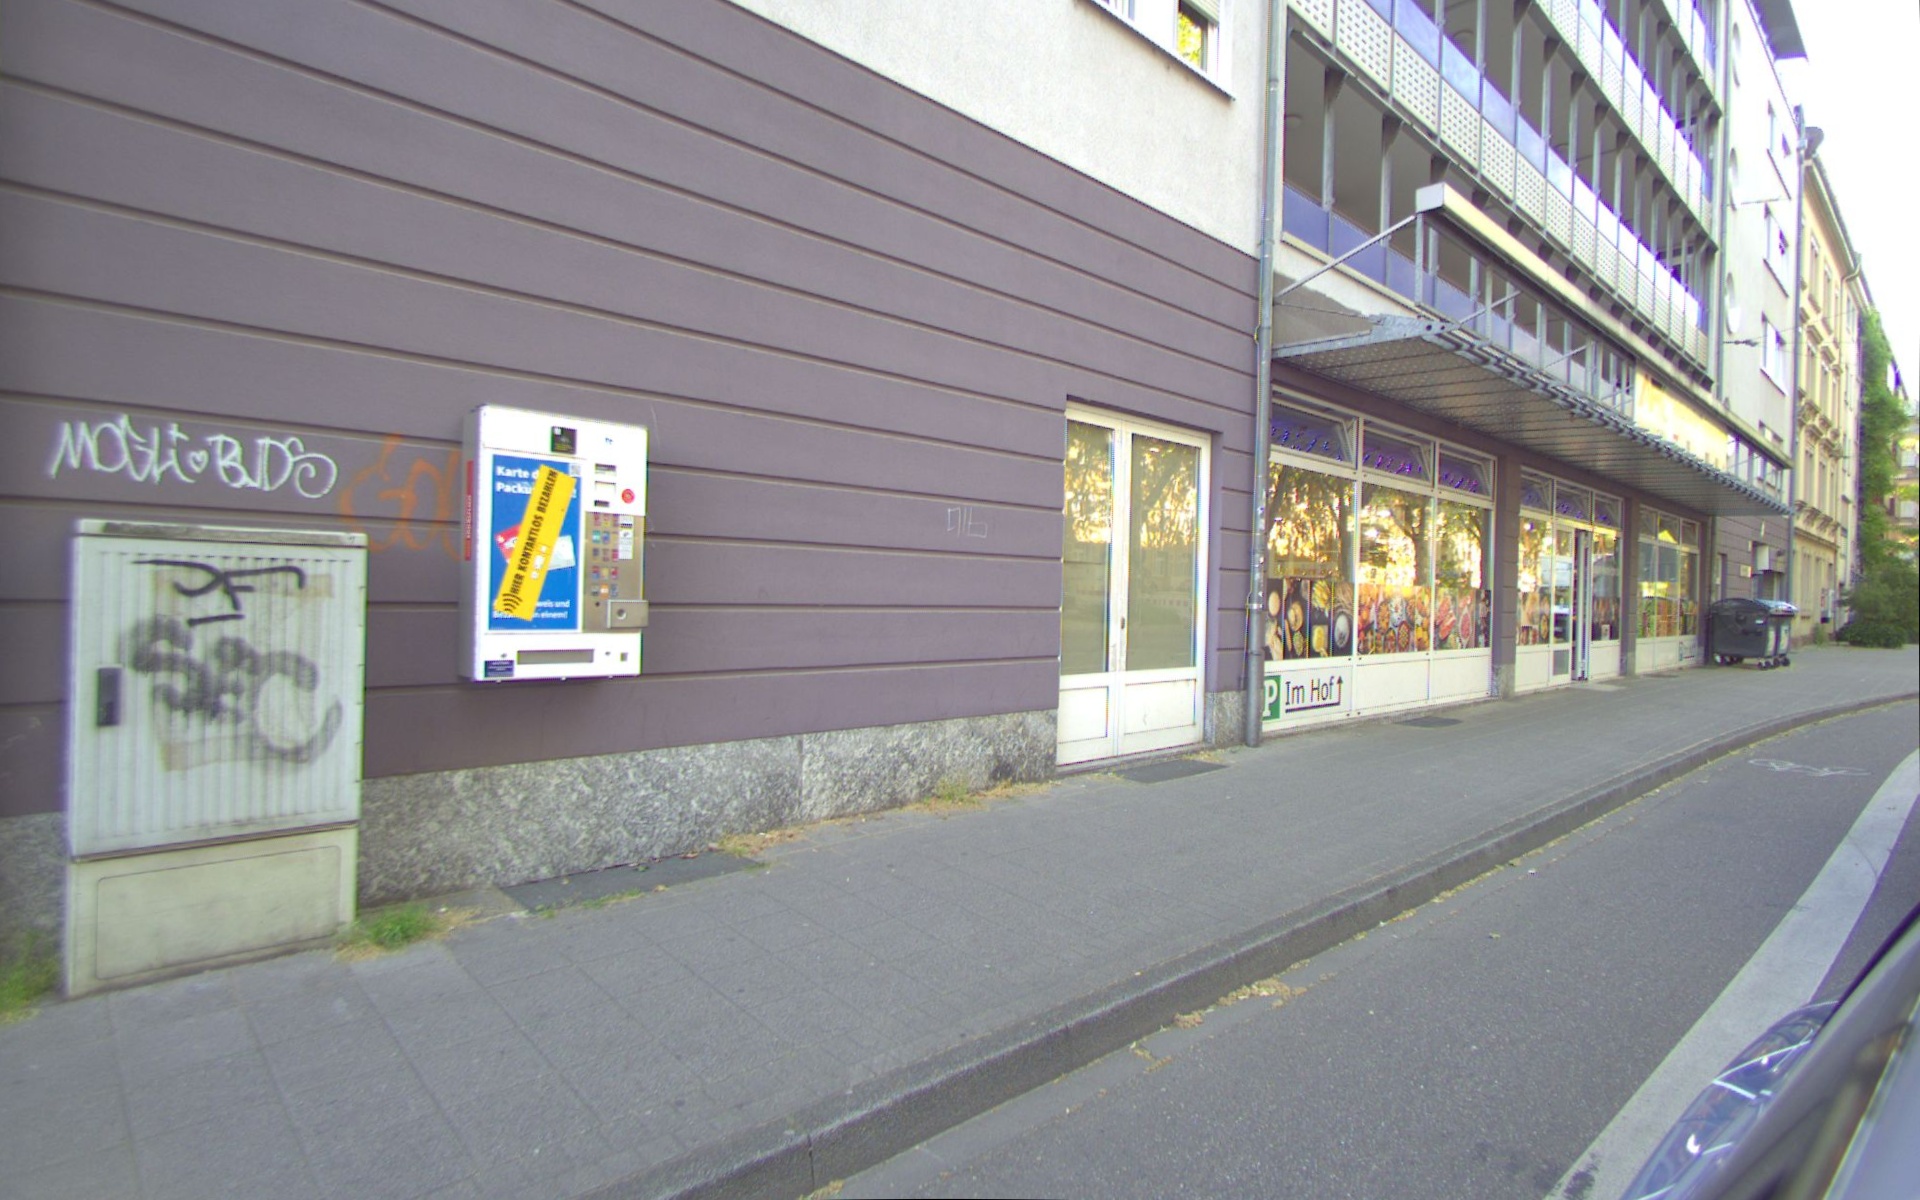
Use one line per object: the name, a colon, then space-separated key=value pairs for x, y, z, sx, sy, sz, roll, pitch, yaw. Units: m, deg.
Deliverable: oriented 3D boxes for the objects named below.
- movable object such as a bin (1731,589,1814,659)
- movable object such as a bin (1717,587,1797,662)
movable object such as a bin: x=17.792 y=0.508 z=22.168 sx=1.282 sy=1.464 sz=1.123 roll=1 pitch=1 yaw=-38
movable object such as a bin: x=16.443 y=0.488 z=20.880 sx=1.274 sy=1.465 sz=1.068 roll=1 pitch=1 yaw=-42
